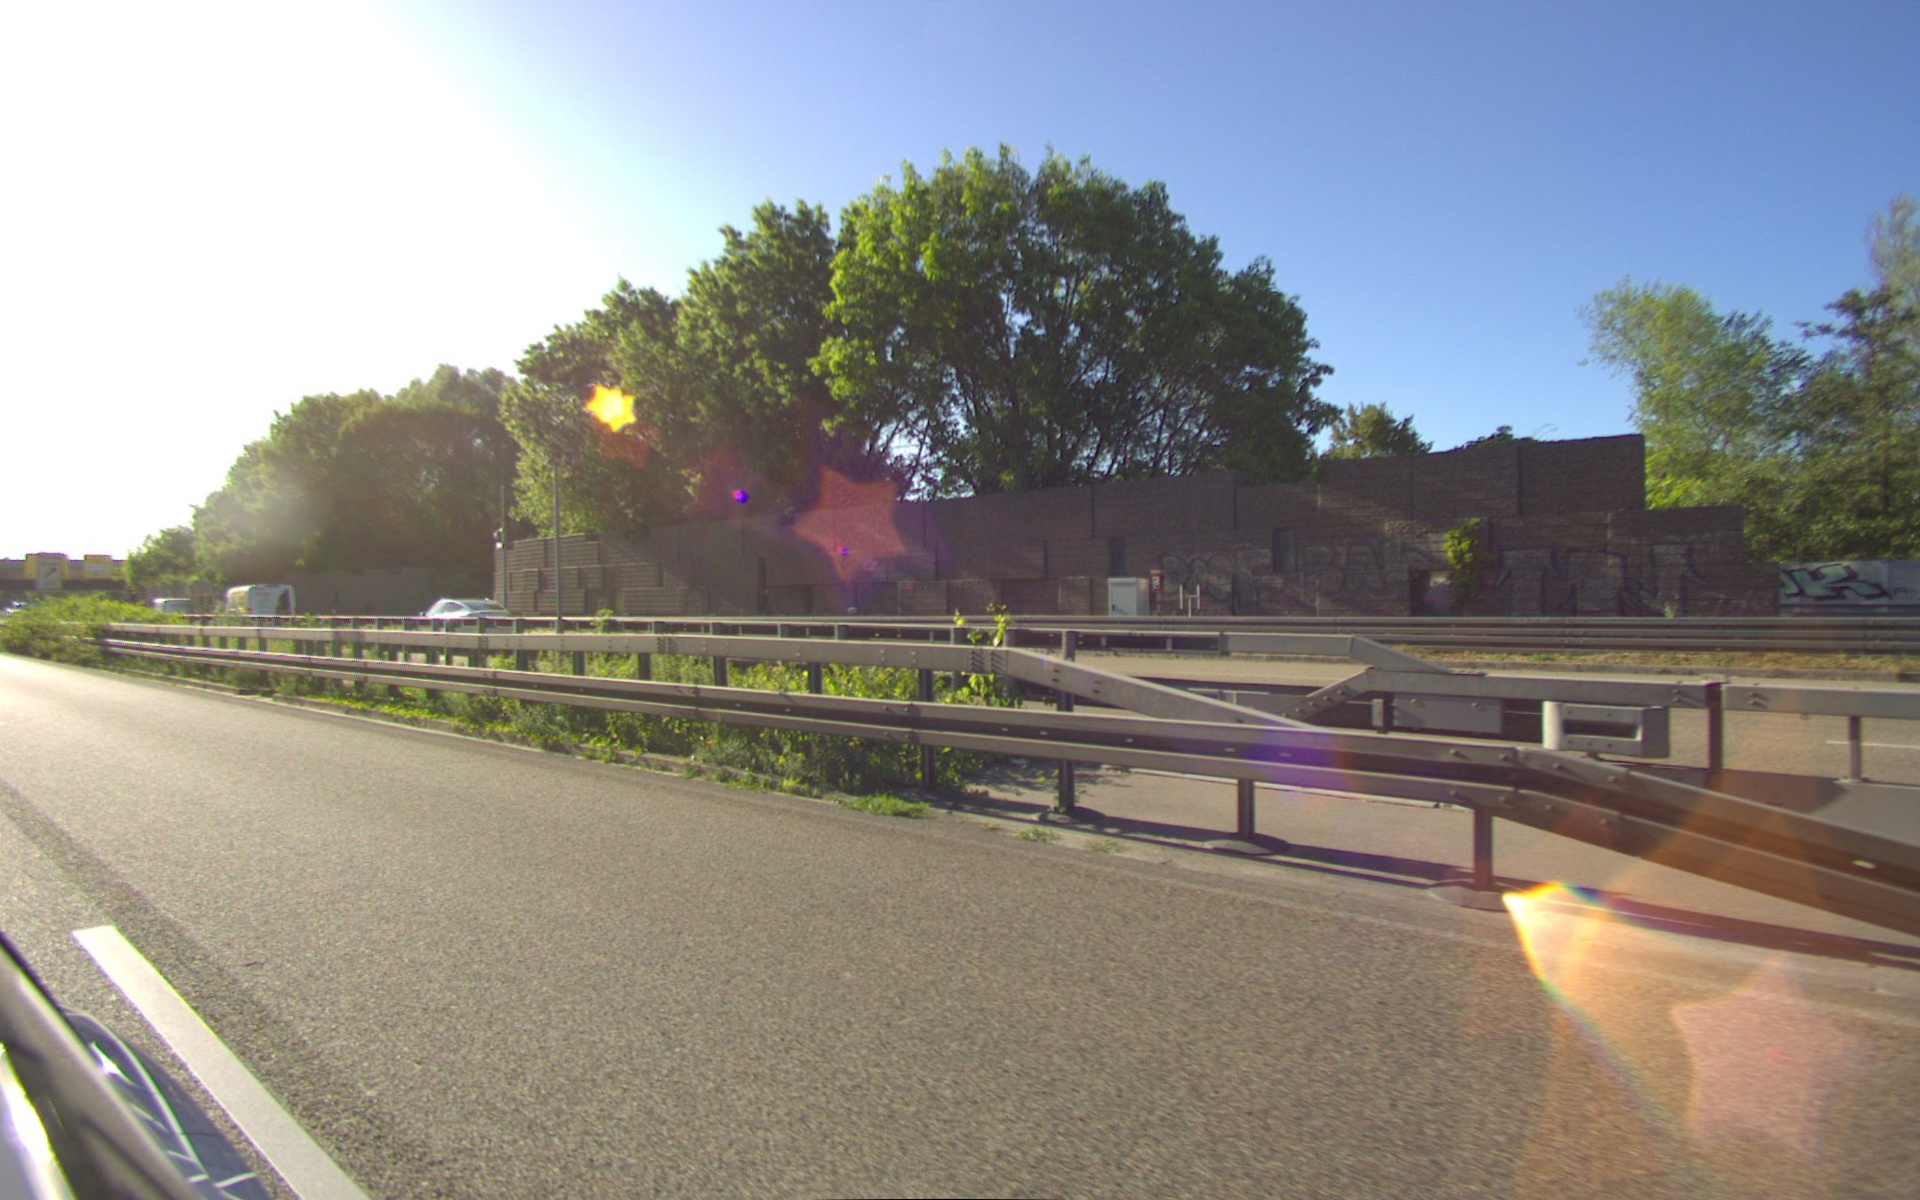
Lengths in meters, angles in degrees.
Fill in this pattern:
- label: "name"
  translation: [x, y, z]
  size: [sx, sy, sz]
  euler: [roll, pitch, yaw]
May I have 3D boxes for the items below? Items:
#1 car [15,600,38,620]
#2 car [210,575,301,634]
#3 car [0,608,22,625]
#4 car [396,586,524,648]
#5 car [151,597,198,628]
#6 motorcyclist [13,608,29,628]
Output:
- label: "car"
  translation: [-135.684, 1.527, 147.130]
  size: [6.591, 2.703, 2.097]
  euler: [-2, 1, 45]
- label: "car"
  translation: [-34.162, 0.269, 49.003]
  size: [6.049, 2.630, 2.125]
  euler: [-2, 1, 41]
- label: "car"
  translation: [-95.613, 1.682, 101.467]
  size: [4.618, 1.491, 1.803]
  euler: [-2, 1, 41]
- label: "car"
  translation: [-16.177, 0.563, 32.618]
  size: [4.782, 1.796, 1.973]
  euler: [-2, 1, 41]
- label: "car"
  translation: [-62.142, 0.981, 80.048]
  size: [5.375, 2.297, 2.054]
  euler: [-2, 1, 43]
- label: "motorcyclist"
  translation: [-78.365, 1.517, 84.487]
  size: [1.046, 1.638, 0.813]
  euler: [-2, 1, 41]
